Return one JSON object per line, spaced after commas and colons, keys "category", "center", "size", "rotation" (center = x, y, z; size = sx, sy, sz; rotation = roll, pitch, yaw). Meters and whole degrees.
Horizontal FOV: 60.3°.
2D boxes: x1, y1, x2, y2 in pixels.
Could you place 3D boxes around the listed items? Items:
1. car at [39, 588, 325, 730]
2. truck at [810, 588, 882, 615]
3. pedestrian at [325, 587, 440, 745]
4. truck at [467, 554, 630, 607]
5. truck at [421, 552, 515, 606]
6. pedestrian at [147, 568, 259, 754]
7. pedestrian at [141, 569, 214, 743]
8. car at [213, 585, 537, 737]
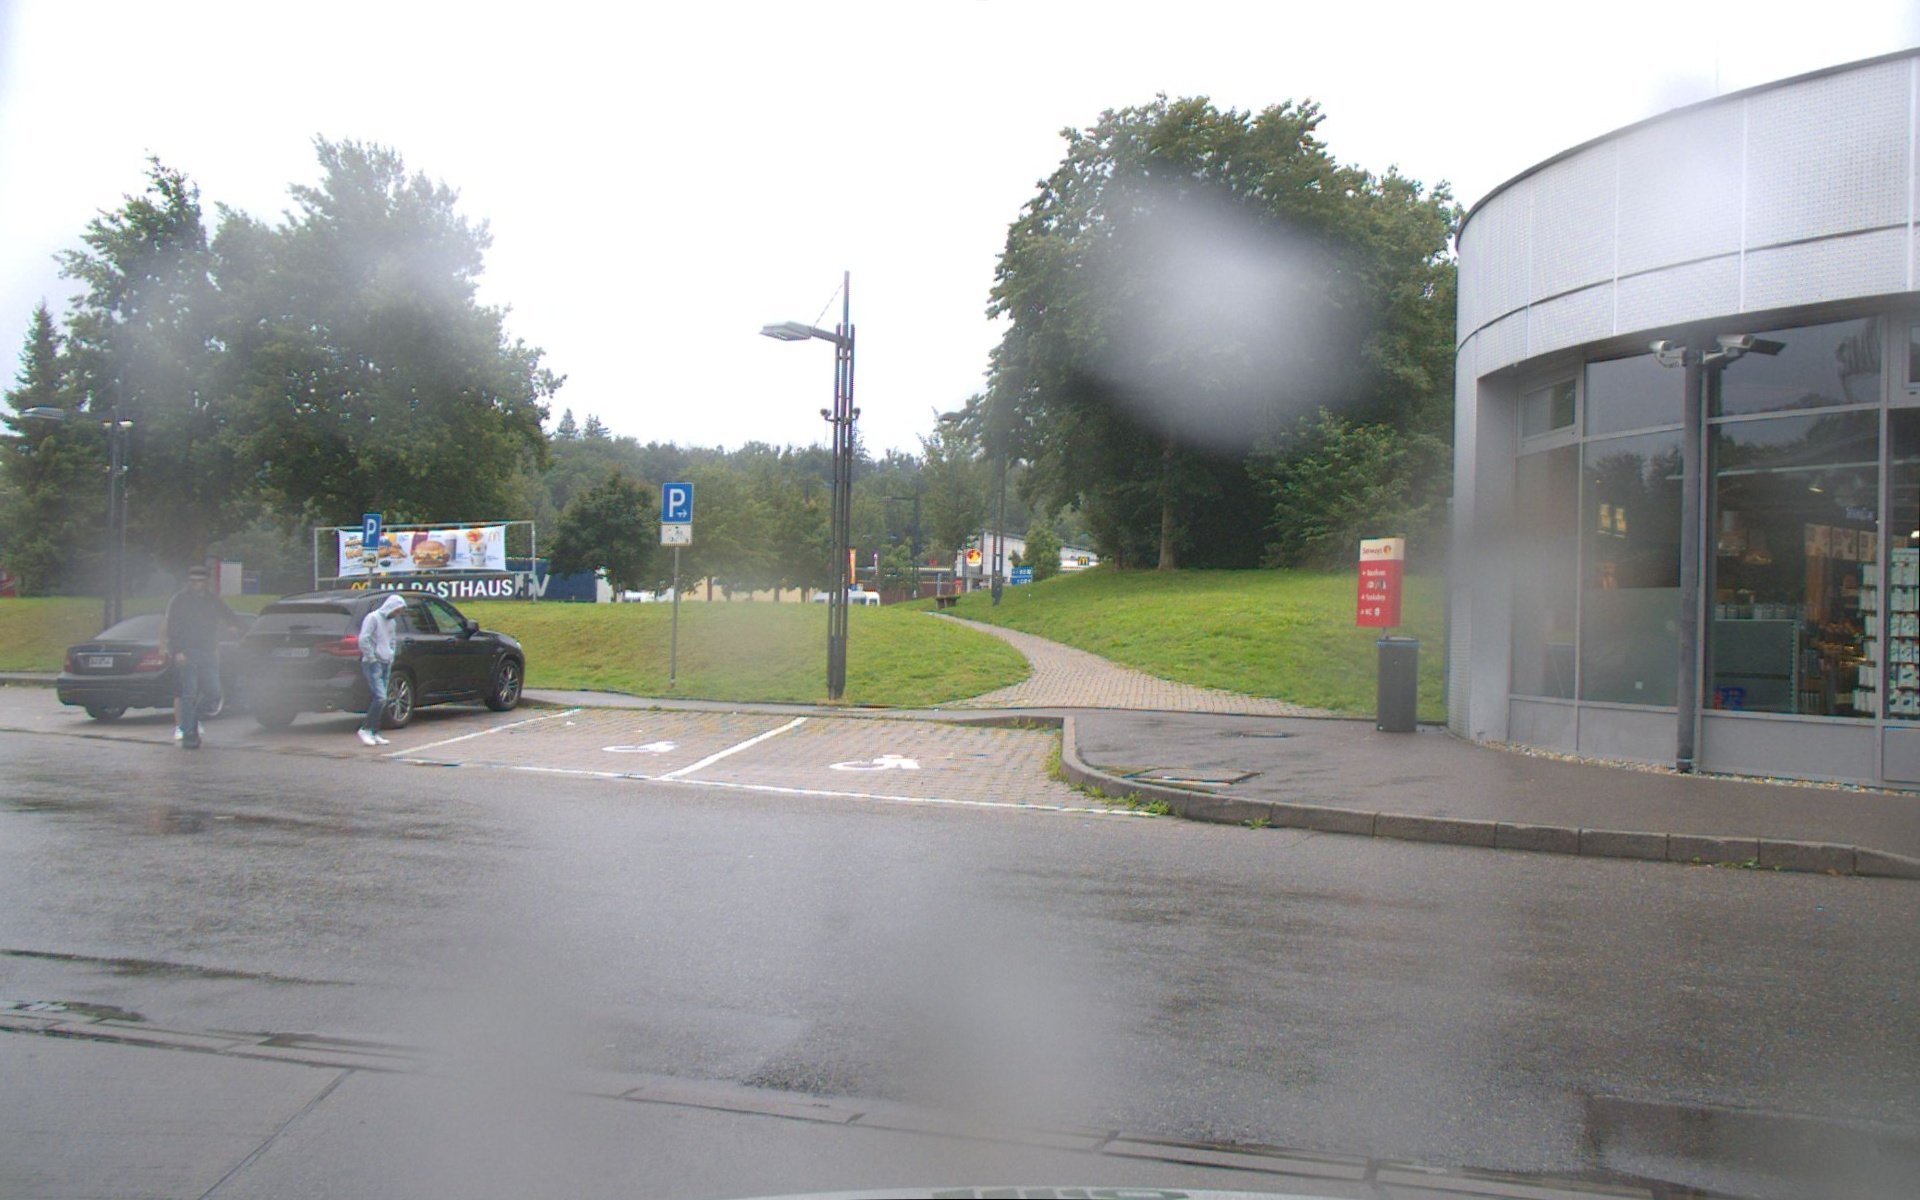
{"category": "car", "center": [-10.571, 0.721, 22.881], "size": [1.976, 1.741, 4.342], "rotation": [-1, 1, -2]}
{"category": "truck", "center": [-9.231, 0.134, 133.658], "size": [5.298, 2.049, 2.366], "rotation": [1, 0, 24]}
{"category": "pedestrian", "center": [-6.292, 0.700, 18.023], "size": [0.932, 1.660, 0.704], "rotation": [1, -1, 24]}
{"category": "truck", "center": [-24.928, -1.088, 101.261], "size": [2.142, 2.971, 13.093], "rotation": [1, 0, 23]}
{"category": "truck", "center": [-27.978, -1.171, 94.246], "size": [2.142, 2.971, 5.384], "rotation": [1, 0, 24]}
{"category": "pedestrian", "center": [-8.039, 0.626, 17.567], "size": [0.875, 1.920, 0.701], "rotation": [1, -1, 34]}
{"category": "pedestrian", "center": [-8.903, 0.621, 18.811], "size": [0.693, 1.920, 0.945], "rotation": [1, -1, -27]}
{"category": "car", "center": [-7.363, 0.695, 21.363], "size": [1.973, 1.741, 4.347], "rotation": [-1, 1, 11]}
